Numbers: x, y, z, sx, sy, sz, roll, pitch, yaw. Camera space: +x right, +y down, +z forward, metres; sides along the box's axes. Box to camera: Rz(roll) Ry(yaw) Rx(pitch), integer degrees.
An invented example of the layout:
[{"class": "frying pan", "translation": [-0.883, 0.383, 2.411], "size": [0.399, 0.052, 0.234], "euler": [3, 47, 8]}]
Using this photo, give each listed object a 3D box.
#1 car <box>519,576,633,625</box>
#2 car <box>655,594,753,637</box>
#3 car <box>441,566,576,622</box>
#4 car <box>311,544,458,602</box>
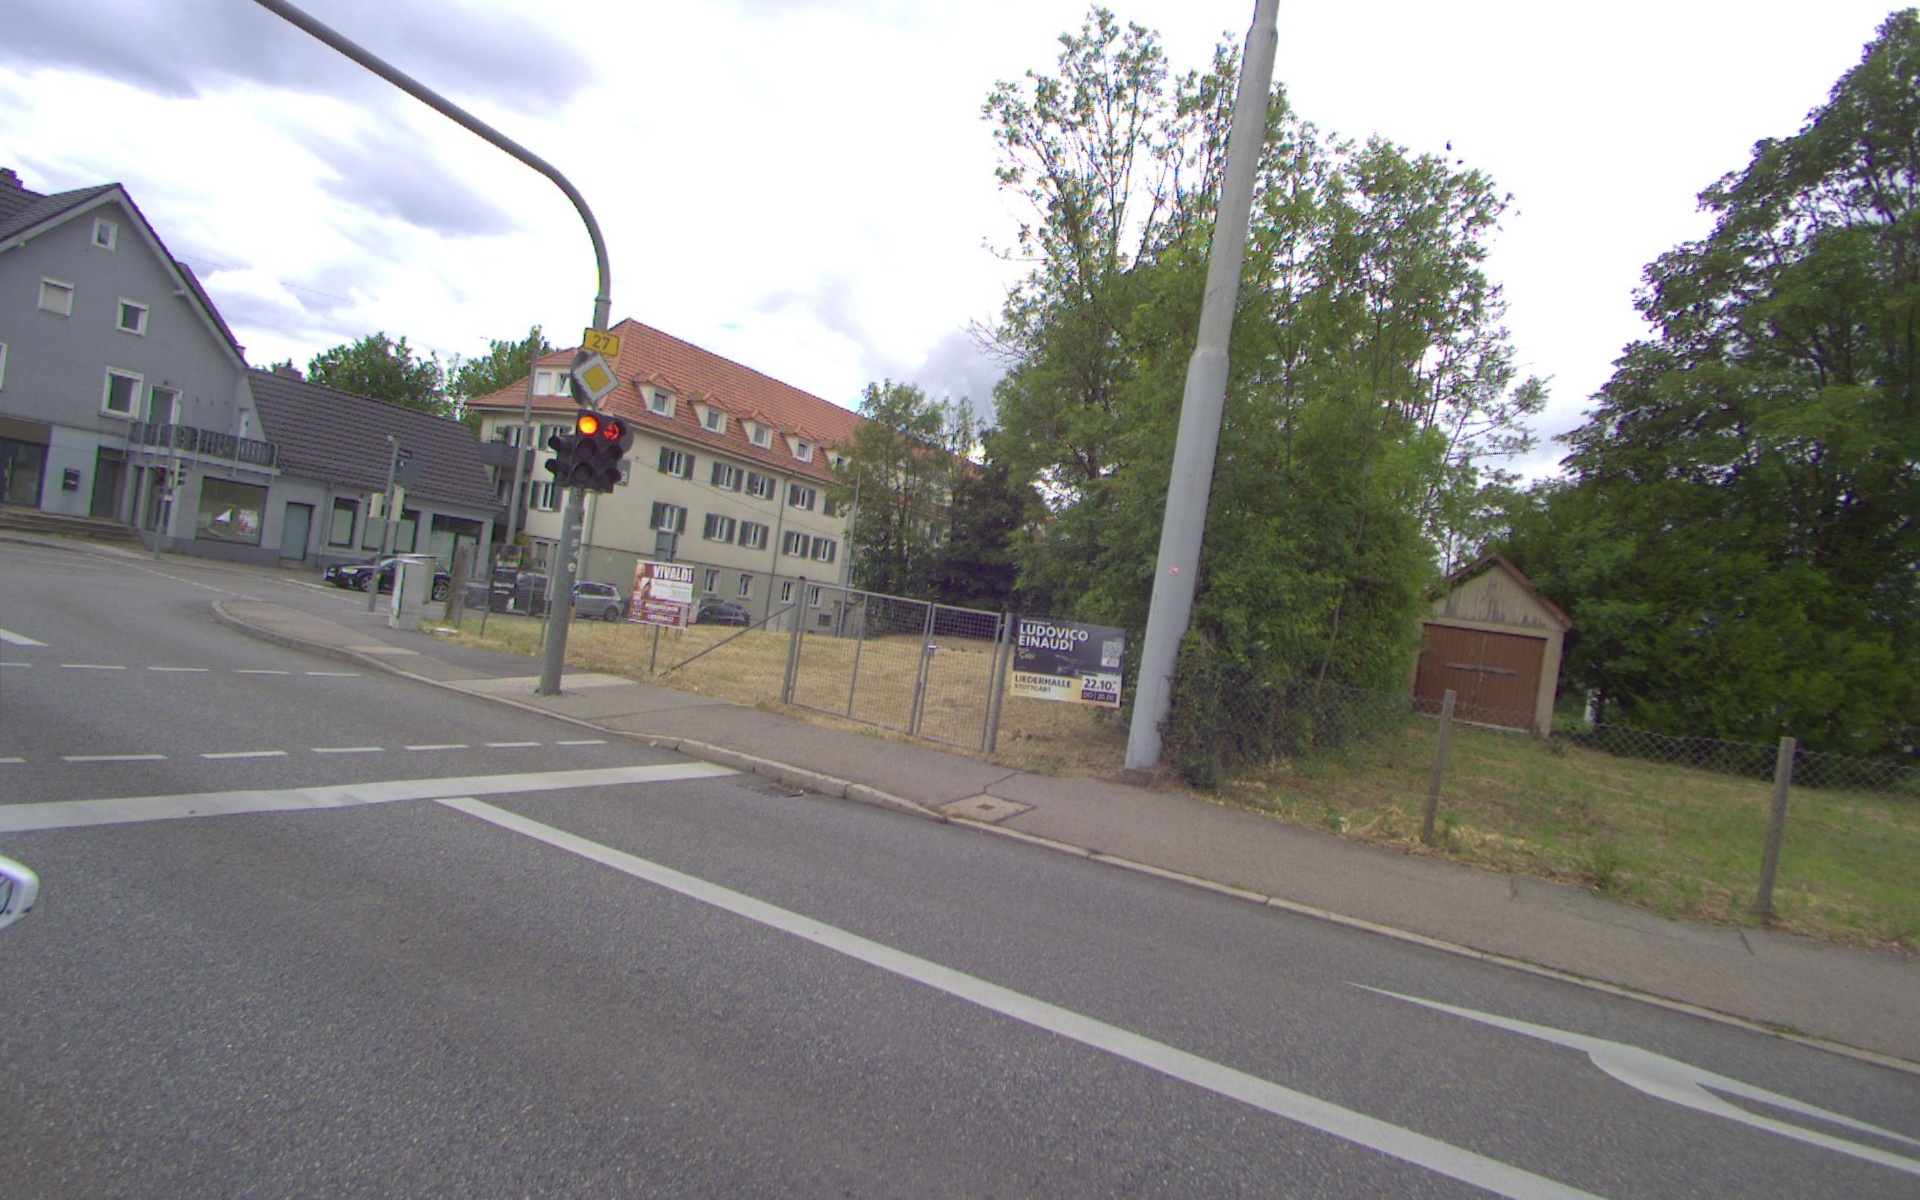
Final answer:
[{"class": "car", "translation": [-15.849, 0.053, 41.689], "size": [1.769, 1.386, 4.100], "euler": [7, -3, 30]}, {"class": "car", "translation": [-11.485, 0.732, 45.369], "size": [1.769, 1.386, 4.100], "euler": [7, -3, 30]}, {"class": "car", "translation": [-16.281, -0.184, 36.494], "size": [1.769, 1.386, 4.100], "euler": [7, -3, 30]}, {"class": "car", "translation": [-20.336, -0.924, 35.717], "size": [1.769, 1.386, 4.100], "euler": [7, -3, 30]}]
